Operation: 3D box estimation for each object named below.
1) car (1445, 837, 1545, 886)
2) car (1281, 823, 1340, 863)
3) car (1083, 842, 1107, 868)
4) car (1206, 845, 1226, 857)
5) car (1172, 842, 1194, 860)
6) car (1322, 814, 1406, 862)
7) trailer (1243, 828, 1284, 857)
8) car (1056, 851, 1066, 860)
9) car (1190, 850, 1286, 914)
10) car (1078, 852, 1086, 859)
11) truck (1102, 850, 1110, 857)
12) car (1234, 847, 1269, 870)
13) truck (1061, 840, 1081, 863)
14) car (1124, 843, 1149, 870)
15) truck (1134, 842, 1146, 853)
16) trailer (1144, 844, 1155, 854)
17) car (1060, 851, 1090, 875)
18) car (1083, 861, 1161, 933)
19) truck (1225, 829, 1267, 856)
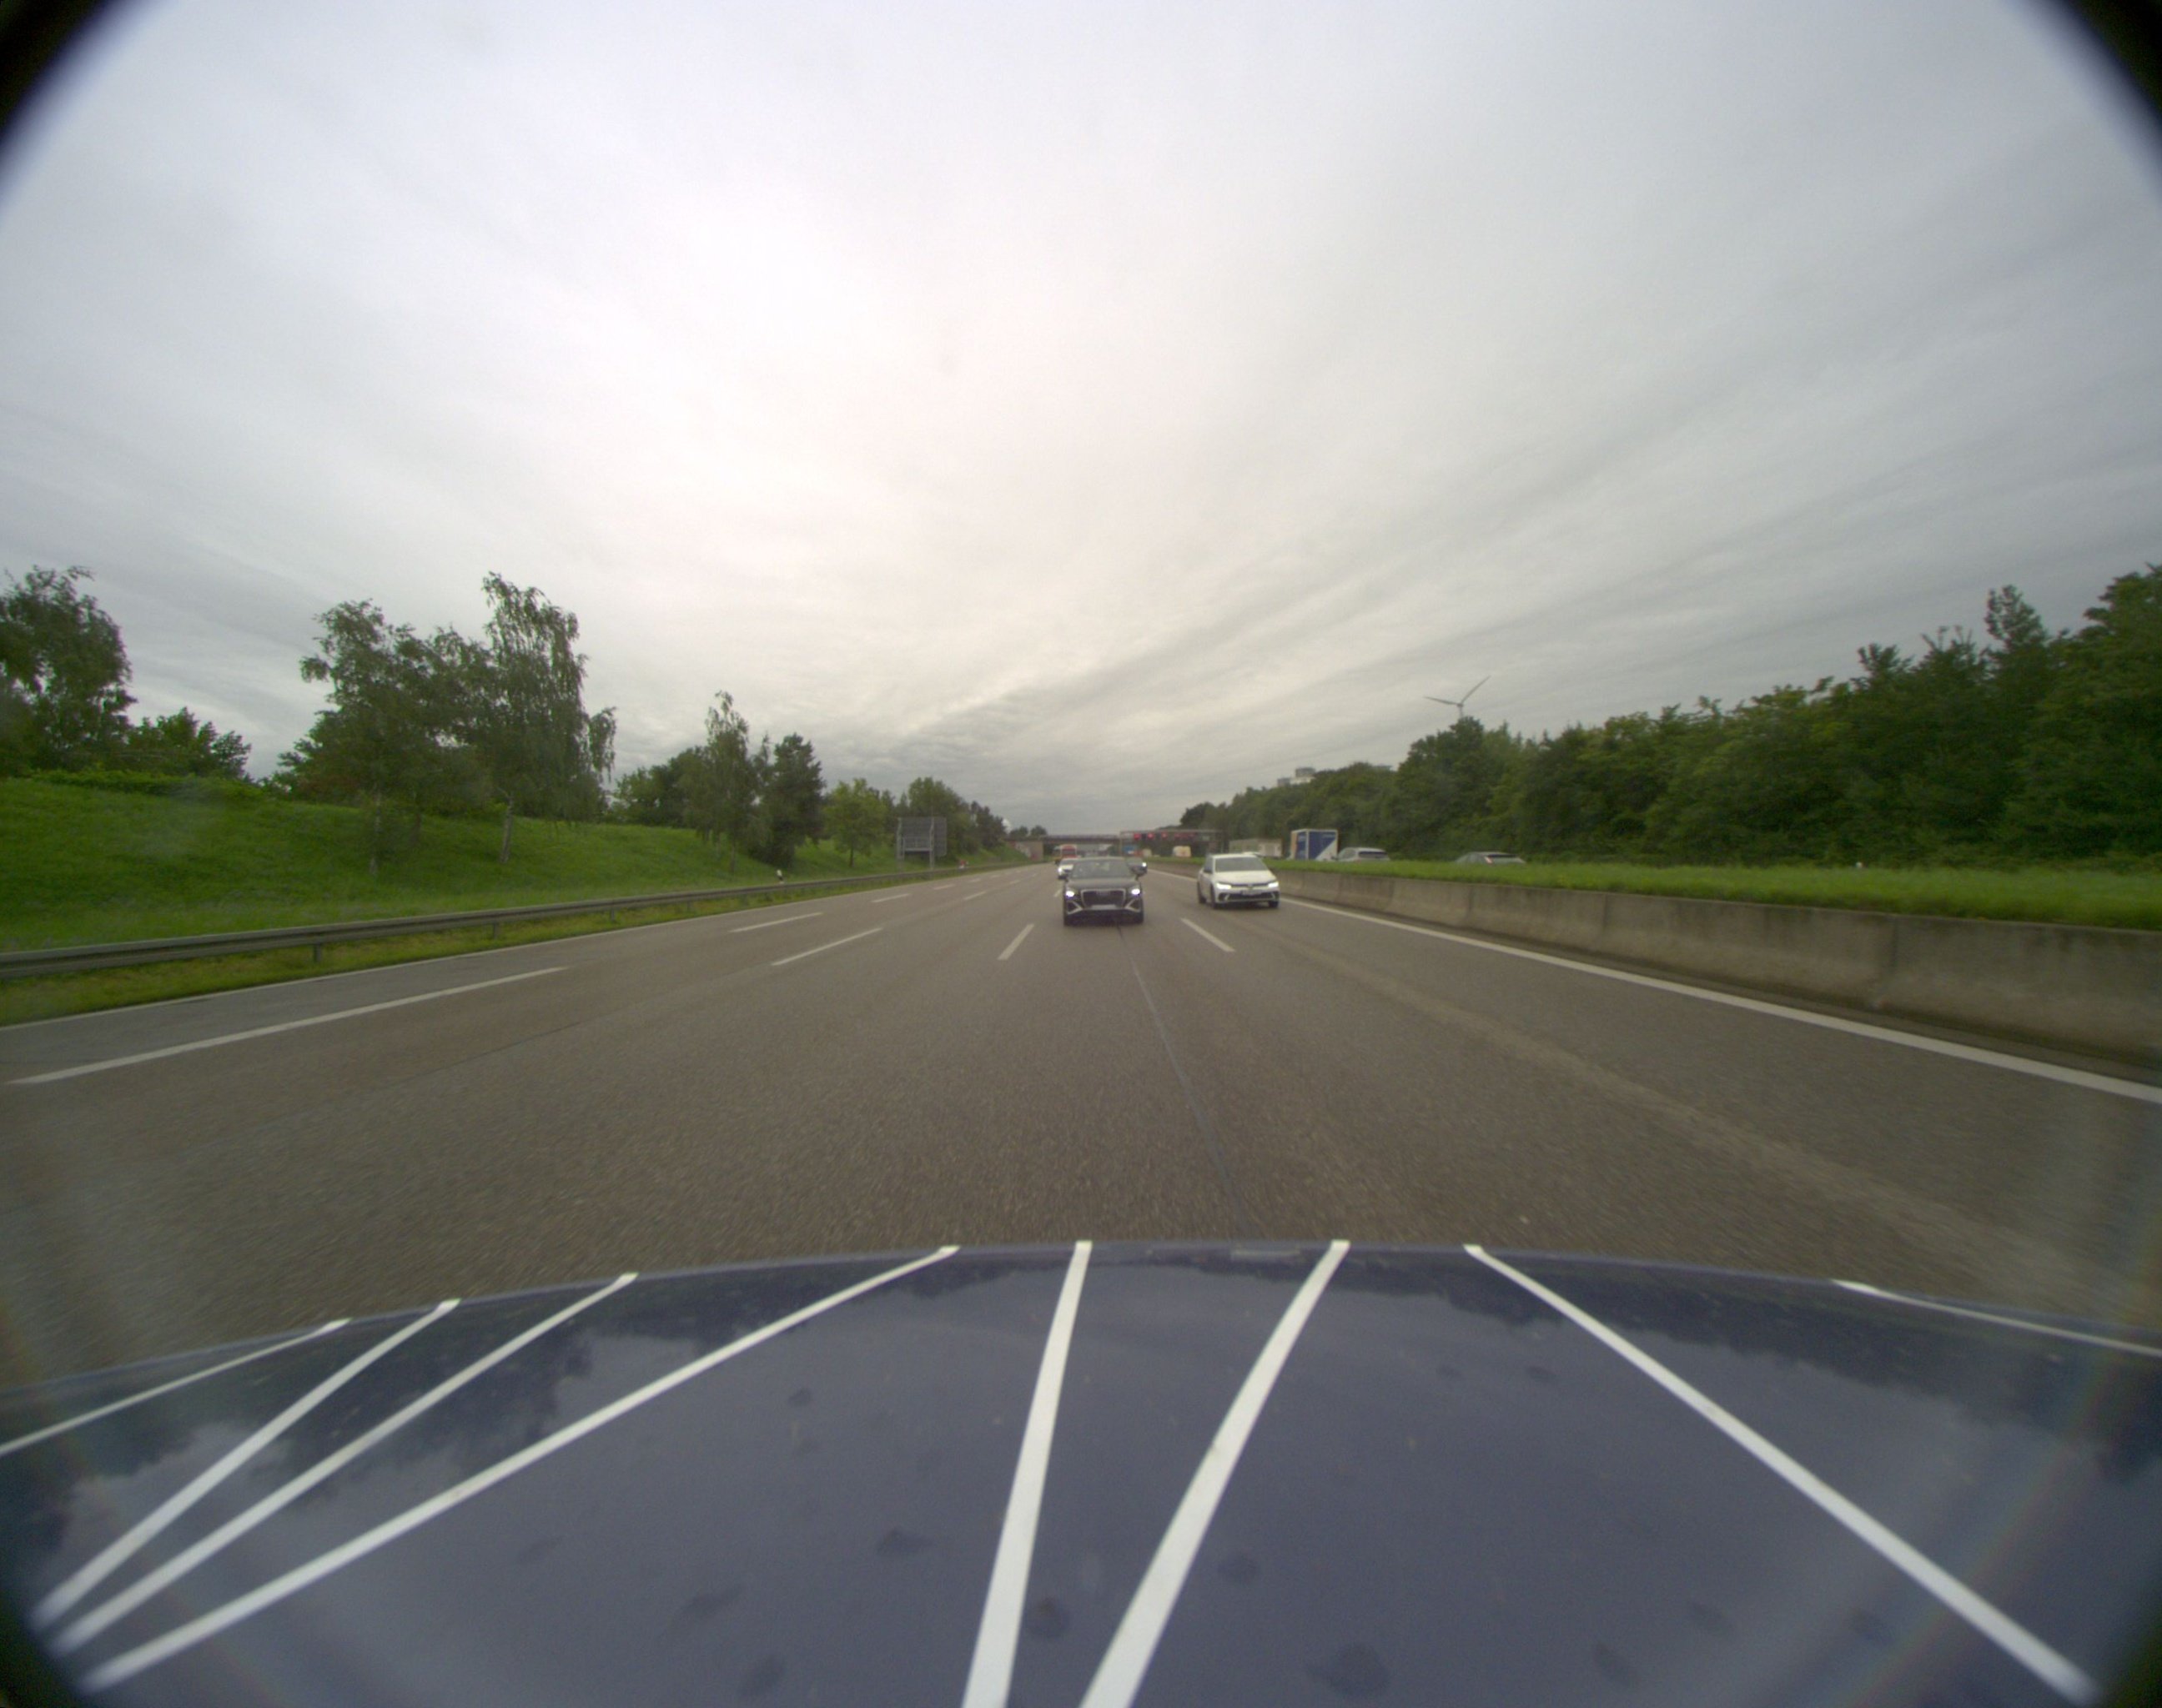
[{"bbox_3d":[16.304,0.252,30.129,1.826,1.739,3.883,-2,1,0],"label":"car"},{"bbox_3d":[17.087,-0.789,56.992,2.327,2.719,7.315,-2,1,1],"label":"car"},{"bbox_3d":[1.556,0.078,85.834,2.459,2.726,8.265,-2,1,1],"label":"car"},{"bbox_3d":[17.415,-0.439,98.070,1.998,1.405,4.000,-2,1,2],"label":"car"},{"bbox_3d":[14.011,-0.407,104.662,2.064,2.371,7.322,-2,1,0],"label":"car"},{"bbox_3d":[12.961,-0.703,35.134,2.126,2.002,4.519,-2,0,-1],"label":"car"},{"bbox_3d":[20.925,-1.326,87.672,2.784,3.059,7.871,-2,1,0],"label":"trailer"},{"bbox_3d":[-4.661,0.247,177.561,1.998,2.002,4.000,-2,1,2],"label":"car"},{"bbox_3d":[4.327,0.697,21.646,1.757,1.608,4.663,-1,0,0],"label":"car"},{"bbox_3d":[0.244,0.308,179.778,1.998,1.641,3.999,-2,1,1],"label":"car"},{"bbox_3d":[7.189,-0.222,219.276,1.998,2.002,4.000,-2,0,1],"label":"truck"},{"bbox_3d":[13.733,0.331,61.357,1.826,1.652,4.148,-2,1,0],"label":"car"},{"bbox_3d":[-1.569,-0.472,126.638,2.836,3.634,10.670,-2,1,1],"label":"truck"},{"bbox_3d":[4.462,0.173,61.945,1.725,2.002,3.851,-2,1,1],"label":"car"},{"bbox_3d":[19.576,-2.239,253.970,2.958,3.446,11.183,-2,1,0],"label":"truck"},{"bbox_3d":[23.693,-1.727,263.923,2.692,3.519,11.869,-2,1,1],"label":"trailer"},{"bbox_3d":[-0.382,0.571,53.390,1.998,1.555,4.910,-1,0,1],"label":"car"},{"bbox_3d":[0.877,0.926,17.851,1.616,1.403,3.326,-2,1,0],"label":"car"},{"bbox_3d":[20.969,-1.430,97.310,2.891,3.202,11.356,-2,1,0],"label":"truck"}]
